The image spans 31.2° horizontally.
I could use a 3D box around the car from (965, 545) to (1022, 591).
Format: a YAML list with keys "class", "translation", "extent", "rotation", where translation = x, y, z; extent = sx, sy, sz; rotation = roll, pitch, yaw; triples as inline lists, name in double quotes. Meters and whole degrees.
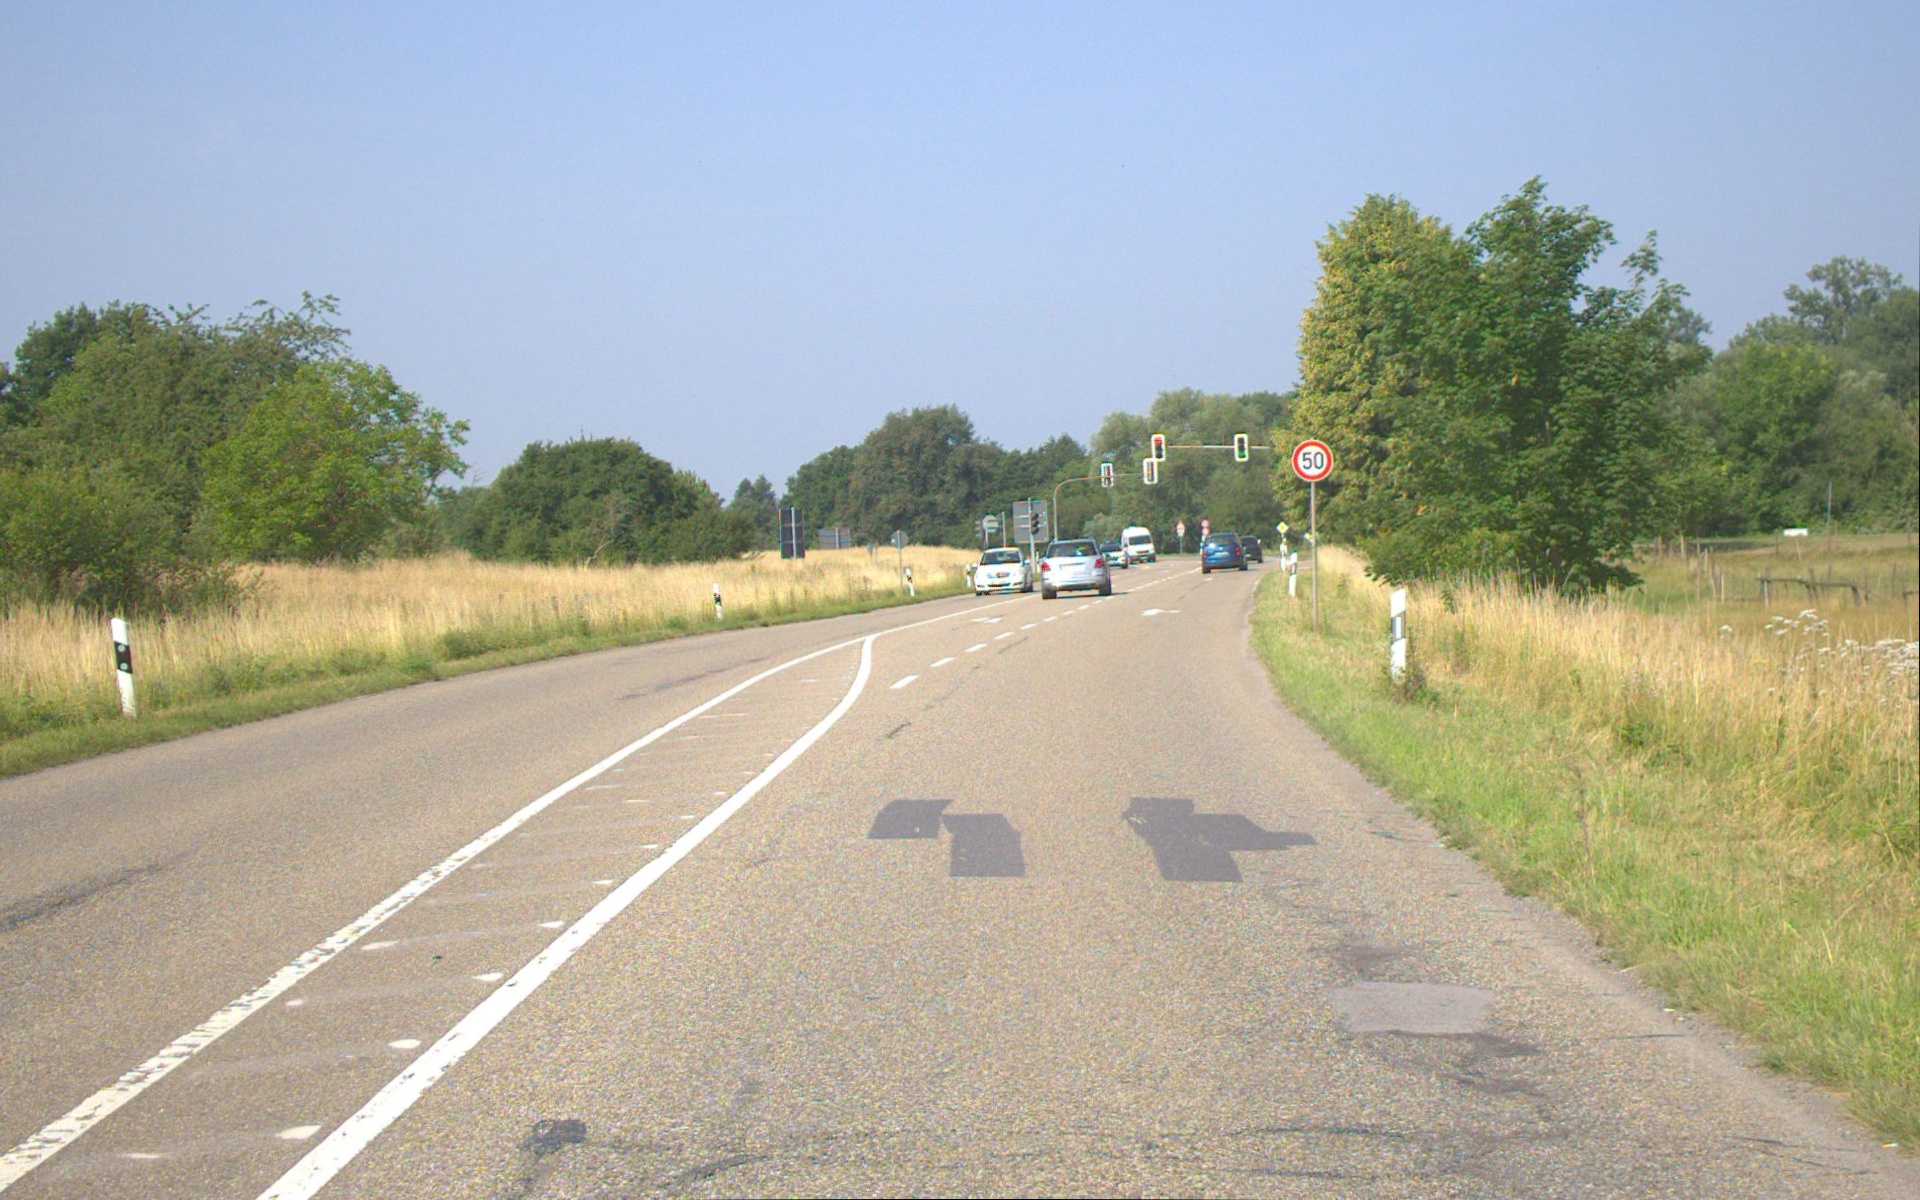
- class: "car"
  translation: [1.181, -1.131, 119.418]
  extent: [1.812, 1.579, 4.224]
  rotation: [0, 1, 3]

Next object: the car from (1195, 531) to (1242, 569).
- class: "car"
  translation: [10.859, -2.119, 144.183]
  extent: [1.816, 1.515, 3.999]
  rotation: [-2, 1, 6]

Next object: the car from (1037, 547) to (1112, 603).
- class: "car"
  translation: [3.216, -0.714, 96.035]
  extent: [1.899, 1.506, 3.999]
  rotation: [1, 1, 5]

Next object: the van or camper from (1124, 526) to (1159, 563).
- class: "van or camper"
  translation: [13.630, -4.164, 257.554]
  extent: [2.265, 2.700, 5.261]
  rotation: [1, 1, 6]

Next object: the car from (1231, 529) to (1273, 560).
- class: "car"
  translation: [14.933, -2.823, 175.961]
  extent: [1.841, 1.546, 4.000]
  rotation: [1, 1, 1]

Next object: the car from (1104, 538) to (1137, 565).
- class: "car"
  translation: [10.178, -3.069, 218.354]
  extent: [1.836, 1.688, 3.858]
  rotation: [-1, 1, 6]
